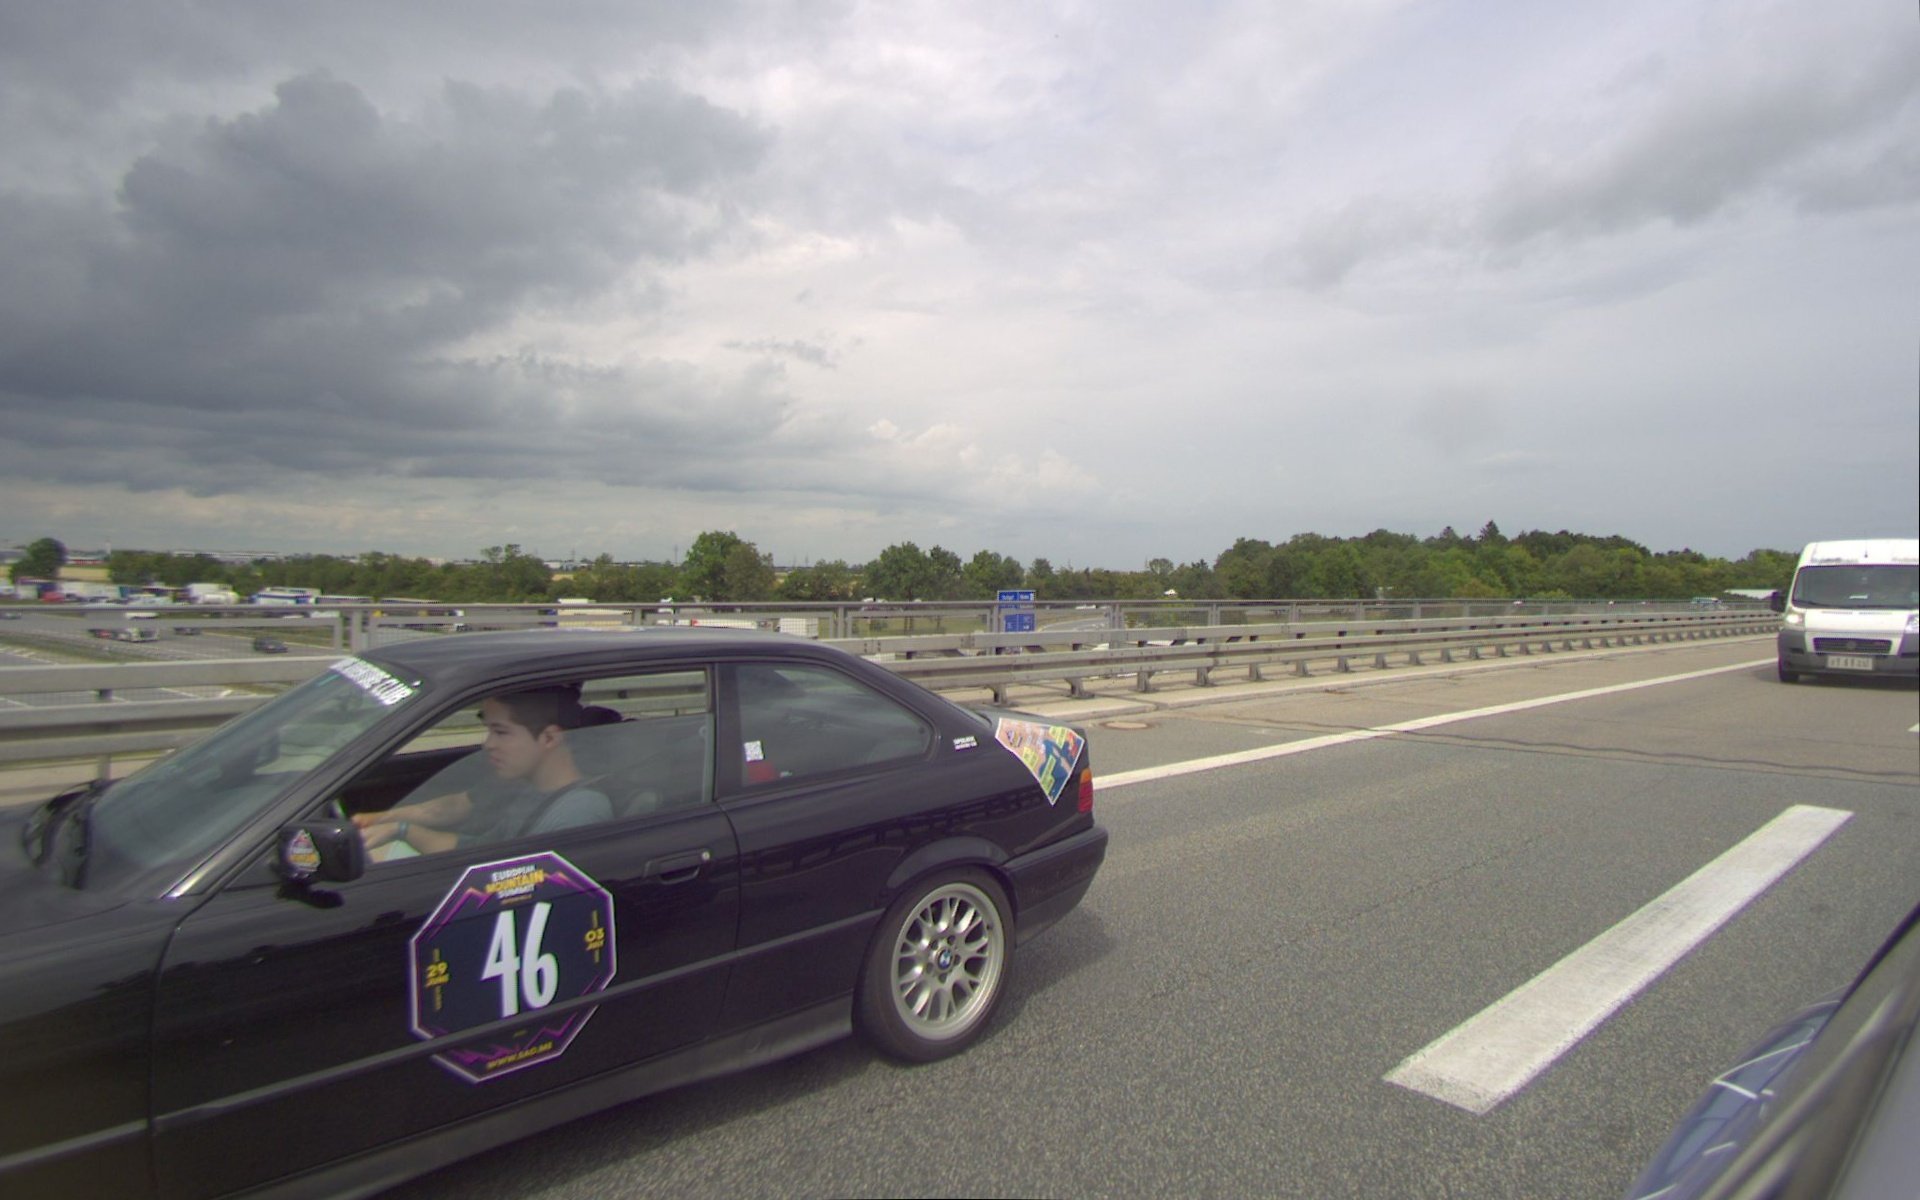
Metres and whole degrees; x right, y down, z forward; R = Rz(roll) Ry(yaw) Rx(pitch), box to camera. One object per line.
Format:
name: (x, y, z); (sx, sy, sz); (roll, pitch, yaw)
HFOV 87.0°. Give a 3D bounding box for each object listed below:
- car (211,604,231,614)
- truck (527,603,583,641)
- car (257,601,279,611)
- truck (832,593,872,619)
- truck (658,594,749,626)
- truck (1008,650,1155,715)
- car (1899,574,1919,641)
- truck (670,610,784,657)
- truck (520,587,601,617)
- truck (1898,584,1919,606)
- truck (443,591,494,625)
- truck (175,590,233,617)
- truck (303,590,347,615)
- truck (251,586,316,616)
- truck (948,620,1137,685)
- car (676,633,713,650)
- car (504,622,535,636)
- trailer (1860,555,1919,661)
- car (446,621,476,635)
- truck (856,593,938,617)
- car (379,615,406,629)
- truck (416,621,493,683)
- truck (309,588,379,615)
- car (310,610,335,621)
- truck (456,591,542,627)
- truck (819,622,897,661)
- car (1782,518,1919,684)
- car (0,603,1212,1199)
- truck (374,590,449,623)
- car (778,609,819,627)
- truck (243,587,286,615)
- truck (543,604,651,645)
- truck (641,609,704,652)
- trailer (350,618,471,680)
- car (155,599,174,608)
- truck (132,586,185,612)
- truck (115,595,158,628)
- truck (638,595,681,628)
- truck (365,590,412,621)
car: (-128.667, 1.536, 176.224); (3.974, 1.504, 1.716); (1, 1, 35)
truck: (-51.564, 2.714, 128.711); (6.254, 4.567, 3.883); (0, 1, 36)
car: (-113.197, 0.994, 165.617); (3.974, 1.504, 1.716); (1, 1, 35)
truck: (-18.965, 1.030, 178.048); (6.308, 4.239, 3.169); (-1, 1, -19)
truck: (-43.642, 1.681, 172.599); (14.556, 5.280, 3.866); (0, 0, -7)
truck: (9.019, 6.040, 76.008); (10.703, 4.123, 3.203); (0, 0, 33)
car: (27.653, 0.188, 28.025); (3.930, 1.816, 1.997); (-1, 1, -41)
truck: (-25.289, 3.475, 109.116); (13.703, 4.611, 3.958); (0, 1, 36)
truck: (-69.066, 0.398, 175.152); (12.779, 5.104, 3.944); (0, 0, 8)
truck: (175.560, -0.968, 181.279); (11.587, 3.907, 2.843); (0, 0, 6)
truck: (-68.081, 1.042, 140.126); (6.255, 4.567, 3.882); (0, 1, 36)
truck: (-138.952, 0.576, 185.871); (15.251, 4.882, 4.036); (0, 0, 35)
truck: (-102.973, 0.376, 164.104); (6.458, 4.062, 4.080); (0, 0, 36)
truck: (-114.687, 0.081, 171.565); (14.385, 4.882, 4.037); (0, 0, 34)
truck: (6.741, 4.267, 85.911); (16.050, 4.758, 3.949); (0, 1, 32)
car: (-27.800, 4.353, 105.955); (3.976, 1.504, 1.715); (1, 2, 37)
car: (-53.938, 3.566, 123.916); (3.977, 1.504, 1.715); (1, 2, 37)
trailer: (20.193, 0.124, 20.894); (4.551, 2.039, 1.858); (-1, 1, -41)
car: (-60.637, 3.449, 123.002); (3.976, 1.504, 1.716); (1, 2, 36)
truck: (-11.229, 0.888, 180.865); (14.423, 4.141, 3.092); (0, 0, -20)
car: (-75.636, 2.902, 134.828); (3.975, 1.575, 1.652); (1, 2, 36)
truck: (-38.844, 3.885, 77.764); (5.580, 4.339, 3.092); (1, 1, 36)
truck: (-97.542, 0.126, 160.148); (14.800, 4.082, 4.090); (0, 1, 36)
car: (-91.906, 2.228, 145.839); (3.976, 1.504, 1.716); (1, 2, 36)
truck: (-62.014, 1.091, 135.755); (14.797, 4.611, 3.956); (0, 1, 37)
truck: (-9.332, 3.715, 92.206); (7.520, 3.237, 2.203); (0, 0, 36)
car: (16.285, -0.024, 17.593); (6.045, 2.485, 2.117); (-1, 1, -41)
car: (-1.243, 0.695, 3.114); (4.287, 1.297, 1.708); (-1, 1, -39)
truck: (-80.682, 0.864, 148.641); (15.220, 4.611, 3.954); (0, 1, 38)
car: (-19.471, 2.164, 122.051); (4.635, 2.039, 2.159); (0, 1, 32)
truck: (-120.672, 0.119, 175.600); (6.451, 4.797, 4.025); (1, 1, 33)
truck: (-44.483, 2.846, 123.604); (16.264, 4.611, 3.957); (0, 1, 36)
truck: (-32.471, 3.388, 114.254); (6.254, 4.567, 3.882); (0, 1, 36)
trailer: (-44.832, 3.823, 82.202); (13.869, 4.339, 3.091); (1, 1, 37)
car: (-144.626, 0.631, 183.908); (3.974, 1.504, 1.716); (1, 1, 35)
truck: (-158.047, -0.270, 199.451); (15.251, 4.882, 4.036); (0, 0, 35)
truck: (-97.153, 1.298, 119.387); (5.130, 3.725, 2.468); (1, 1, 34)
truck: (-50.902, 1.845, 171.719); (6.312, 5.380, 3.864); (-1, 1, -7)
truck: (-86.457, 0.784, 153.201); (6.462, 4.554, 4.018); (0, 1, 38)
